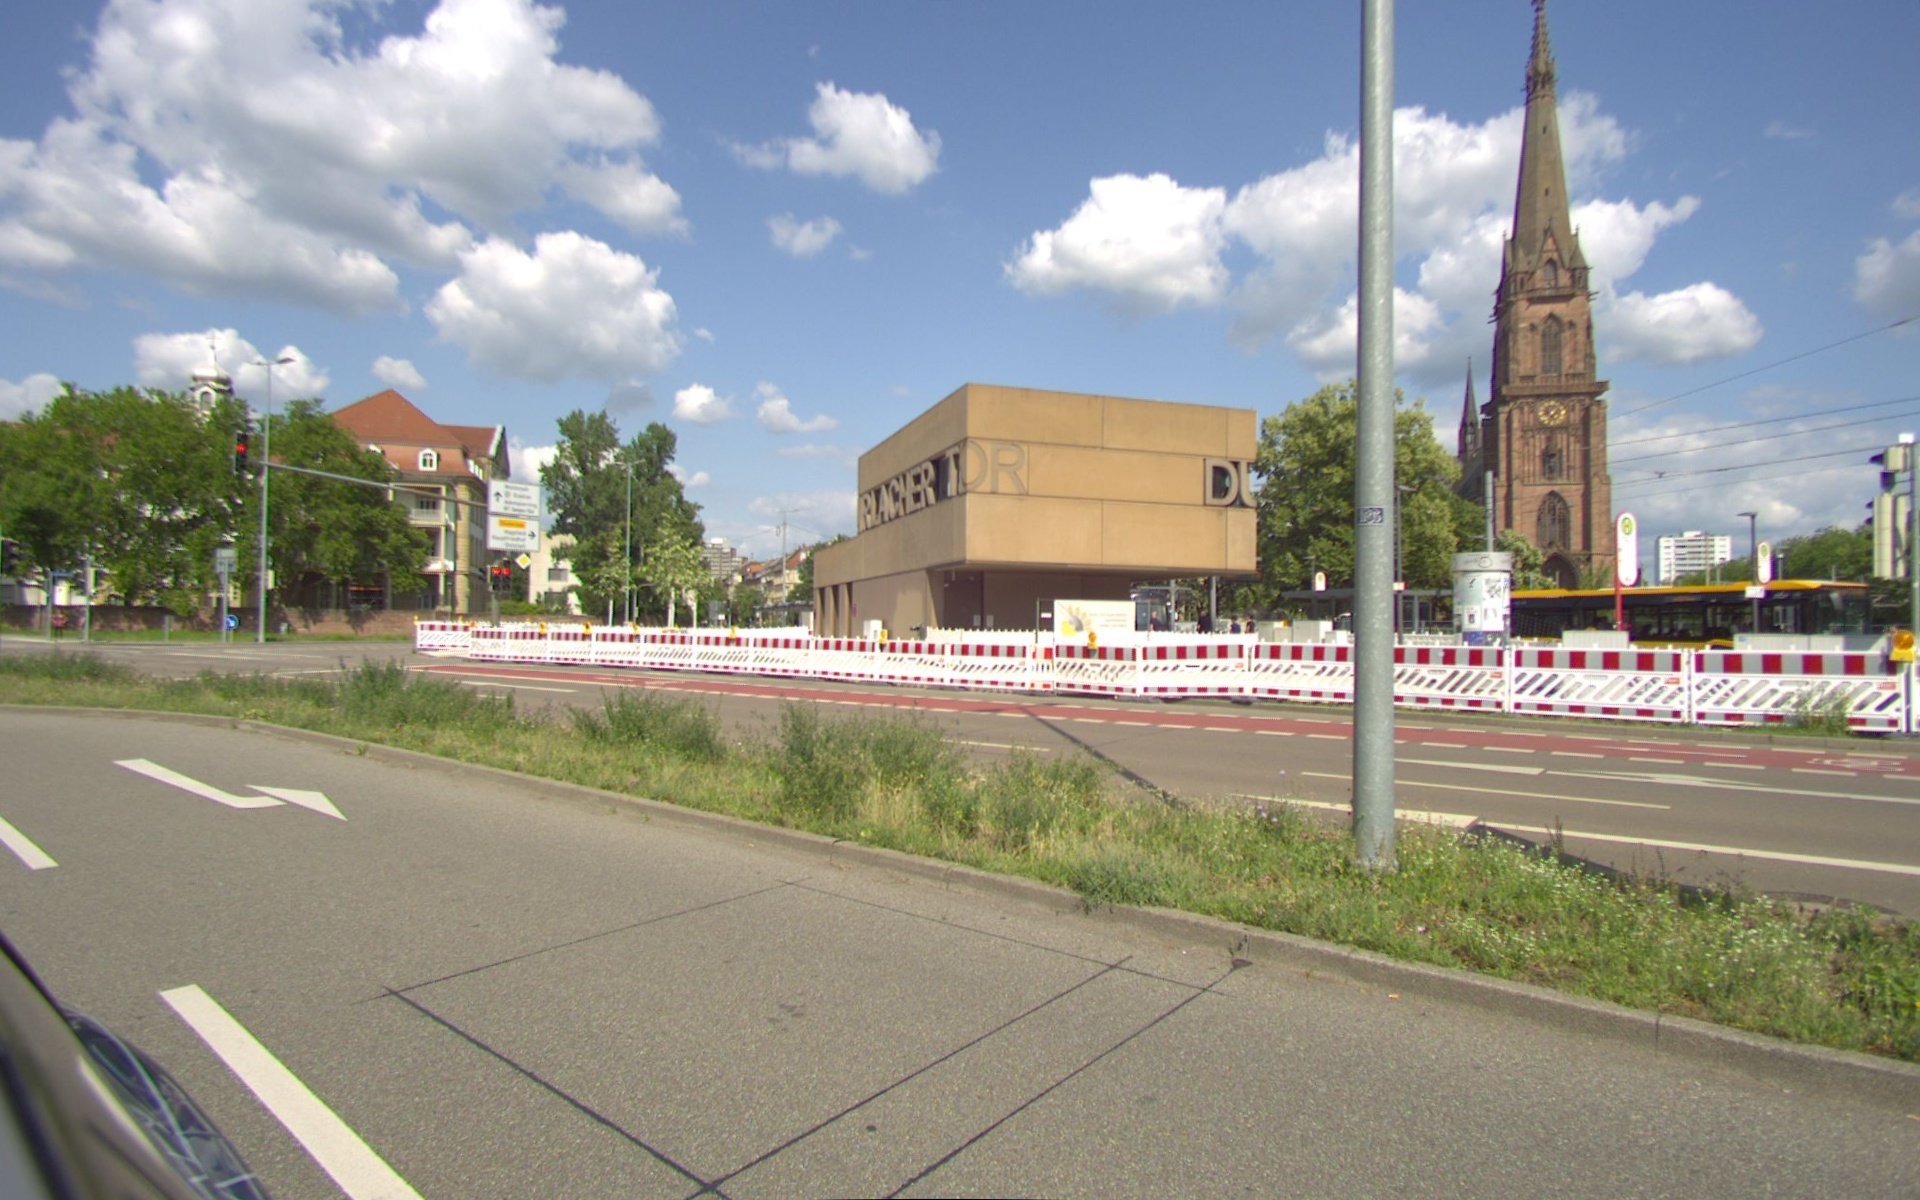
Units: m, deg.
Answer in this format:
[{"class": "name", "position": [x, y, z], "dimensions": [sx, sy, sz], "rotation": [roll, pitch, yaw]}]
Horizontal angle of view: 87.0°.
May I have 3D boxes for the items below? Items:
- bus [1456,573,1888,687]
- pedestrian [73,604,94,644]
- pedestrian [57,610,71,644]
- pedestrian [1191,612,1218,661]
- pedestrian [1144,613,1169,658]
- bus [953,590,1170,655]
[{"class": "bus", "position": [23.210, 1.015, 34.717], "dimensions": [2.785, 3.160, 12.880], "rotation": [1, -2, -19]}, {"class": "pedestrian", "position": [-44.480, 1.215, 51.351], "dimensions": [0.616, 2.009, 0.579], "rotation": [0, 0, 13]}, {"class": "pedestrian", "position": [-46.056, 1.369, 52.042], "dimensions": [0.363, 1.745, 0.452], "rotation": [0, 0, -14]}, {"class": "pedestrian", "position": [8.435, 1.255, 34.951], "dimensions": [0.720, 1.642, 0.561], "rotation": [1, -1, -24]}, {"class": "pedestrian", "position": [7.389, 1.328, 38.087], "dimensions": [0.763, 1.644, 0.646], "rotation": [0, -2, 29]}, {"class": "bus", "position": [5.118, 1.391, 62.166], "dimensions": [3.416, 3.208, 23.853], "rotation": [1, -2, -19]}]
